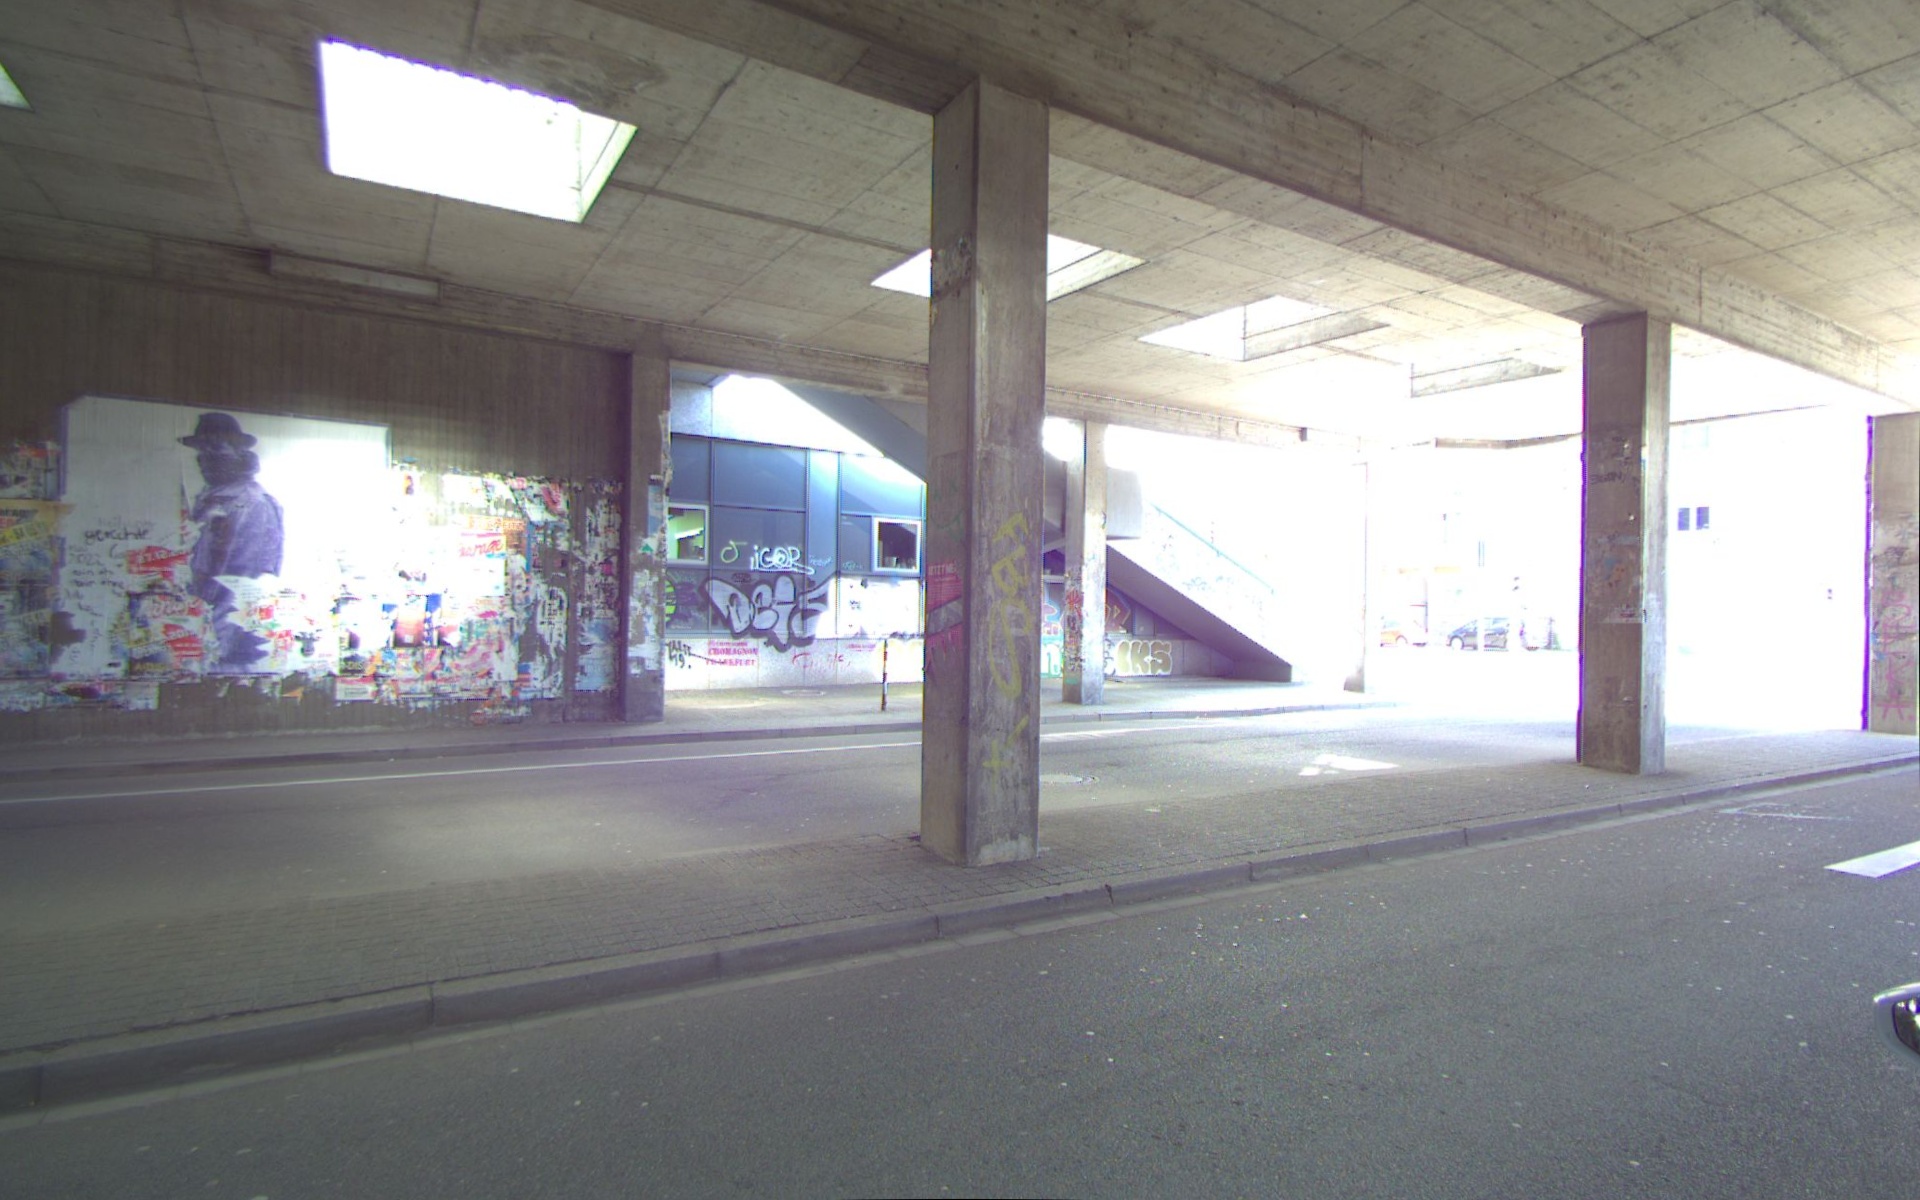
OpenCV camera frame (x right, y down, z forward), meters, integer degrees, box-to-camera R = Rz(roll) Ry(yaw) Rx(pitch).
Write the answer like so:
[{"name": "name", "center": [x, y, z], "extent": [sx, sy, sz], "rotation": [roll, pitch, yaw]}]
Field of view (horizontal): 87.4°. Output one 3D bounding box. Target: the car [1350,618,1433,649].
[{"name": "car", "center": [22.554, 1.737, 52.611], "extent": [1.730, 1.495, 3.741], "rotation": [2, -1, -31]}]

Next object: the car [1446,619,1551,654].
[{"name": "car", "center": [25.466, 1.718, 47.656], "extent": [1.718, 1.495, 4.089], "rotation": [2, -1, -31]}]
